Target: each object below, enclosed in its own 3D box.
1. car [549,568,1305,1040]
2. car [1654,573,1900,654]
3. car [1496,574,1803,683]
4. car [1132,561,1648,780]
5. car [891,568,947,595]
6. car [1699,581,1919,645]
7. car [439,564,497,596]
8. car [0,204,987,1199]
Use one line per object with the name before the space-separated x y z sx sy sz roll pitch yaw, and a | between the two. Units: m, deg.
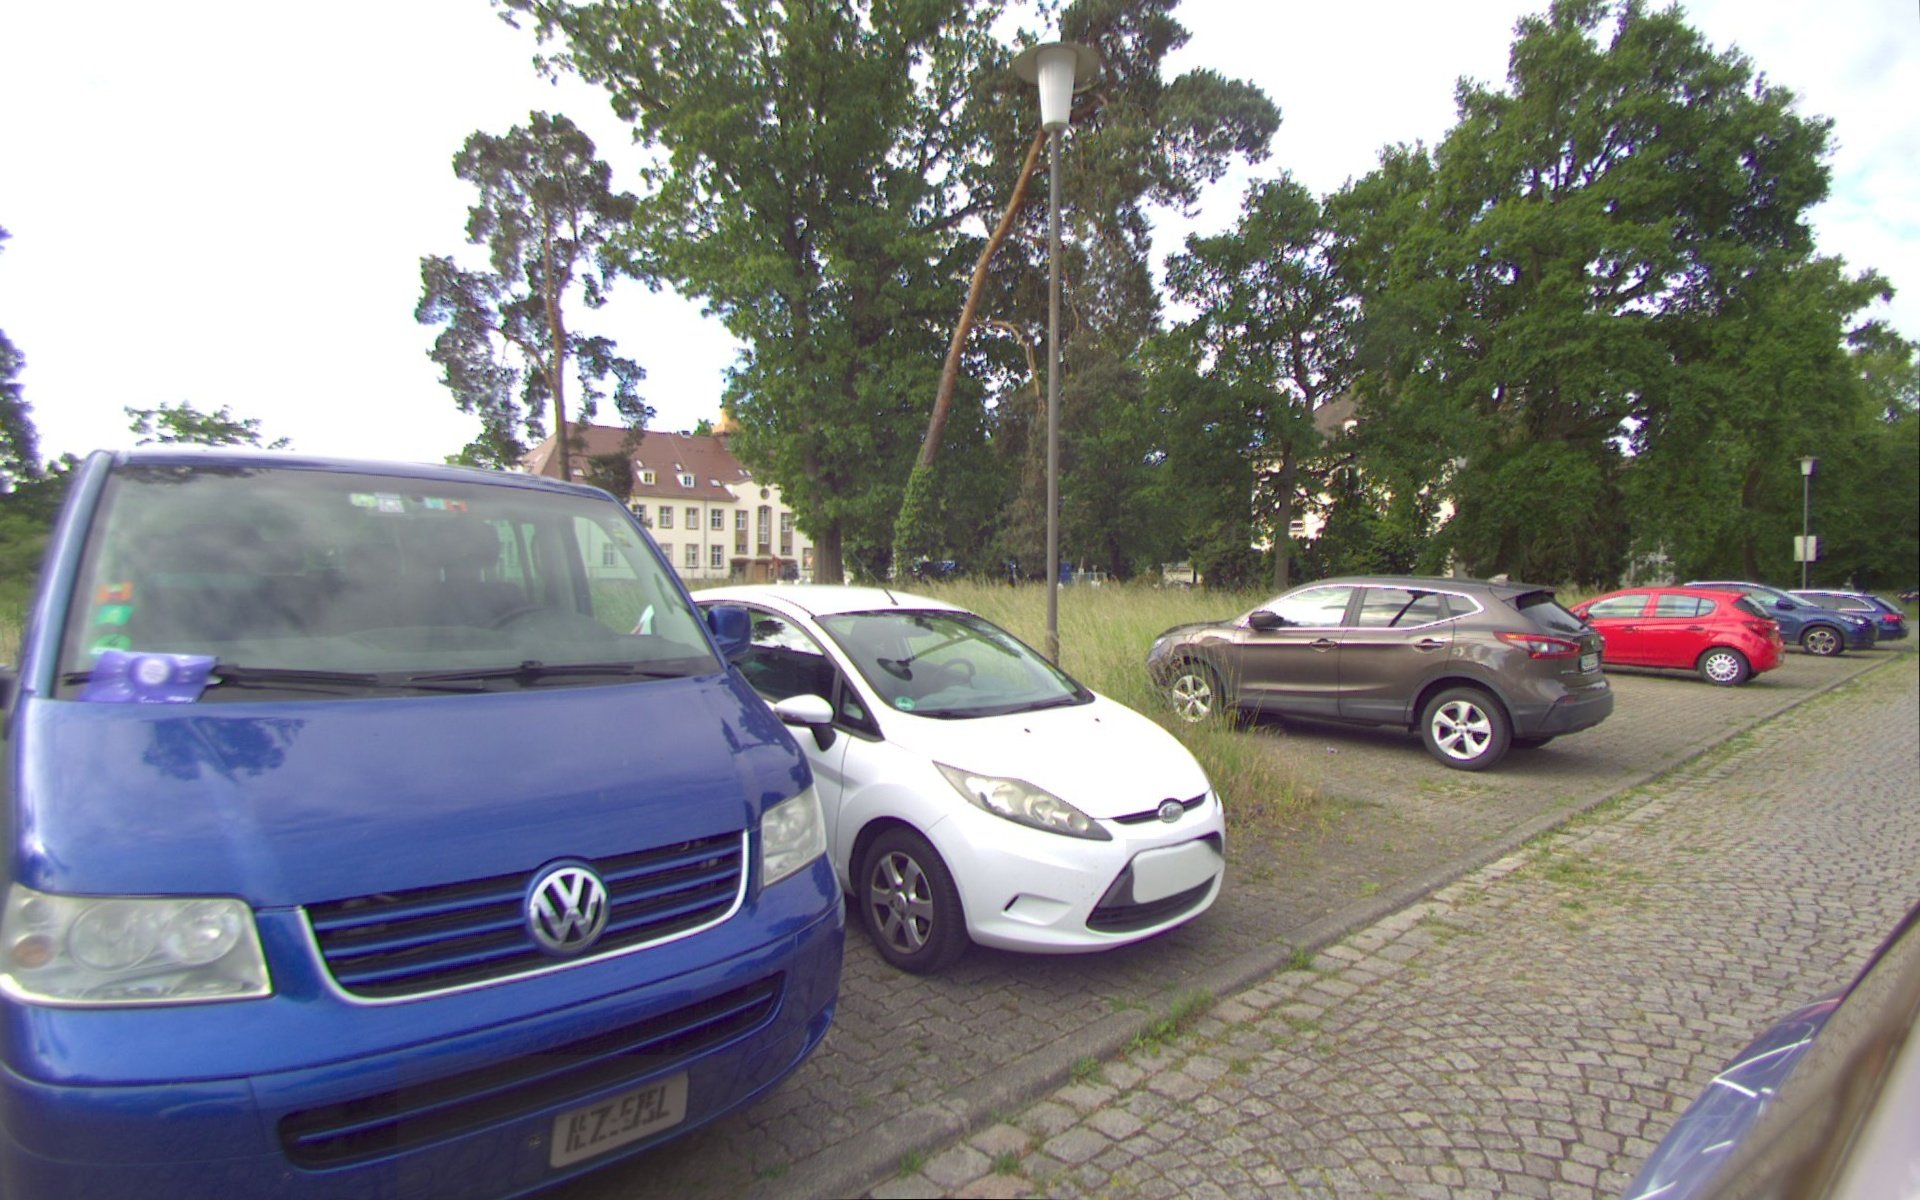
car | -0.499 0.623 5.401 1.694 1.497 4.100 -1 3 -45
car | 18.911 0.231 23.561 1.855 1.643 4.249 0 2 -44
car | 11.341 0.374 16.834 1.755 1.515 3.927 0 2 -44
car | 3.978 0.469 9.871 1.921 1.614 4.207 -1 3 -44
car | -3.586 -1.626 89.367 4.856 2.333 1.920 -1 1 -43
car | 22.391 0.268 26.661 1.892 1.457 4.366 0 2 -40
car | -43.219 -1.740 88.871 5.645 2.674 2.249 0 0 36
car | -2.291 0.386 3.756 1.934 2.028 4.800 0 2 -44
